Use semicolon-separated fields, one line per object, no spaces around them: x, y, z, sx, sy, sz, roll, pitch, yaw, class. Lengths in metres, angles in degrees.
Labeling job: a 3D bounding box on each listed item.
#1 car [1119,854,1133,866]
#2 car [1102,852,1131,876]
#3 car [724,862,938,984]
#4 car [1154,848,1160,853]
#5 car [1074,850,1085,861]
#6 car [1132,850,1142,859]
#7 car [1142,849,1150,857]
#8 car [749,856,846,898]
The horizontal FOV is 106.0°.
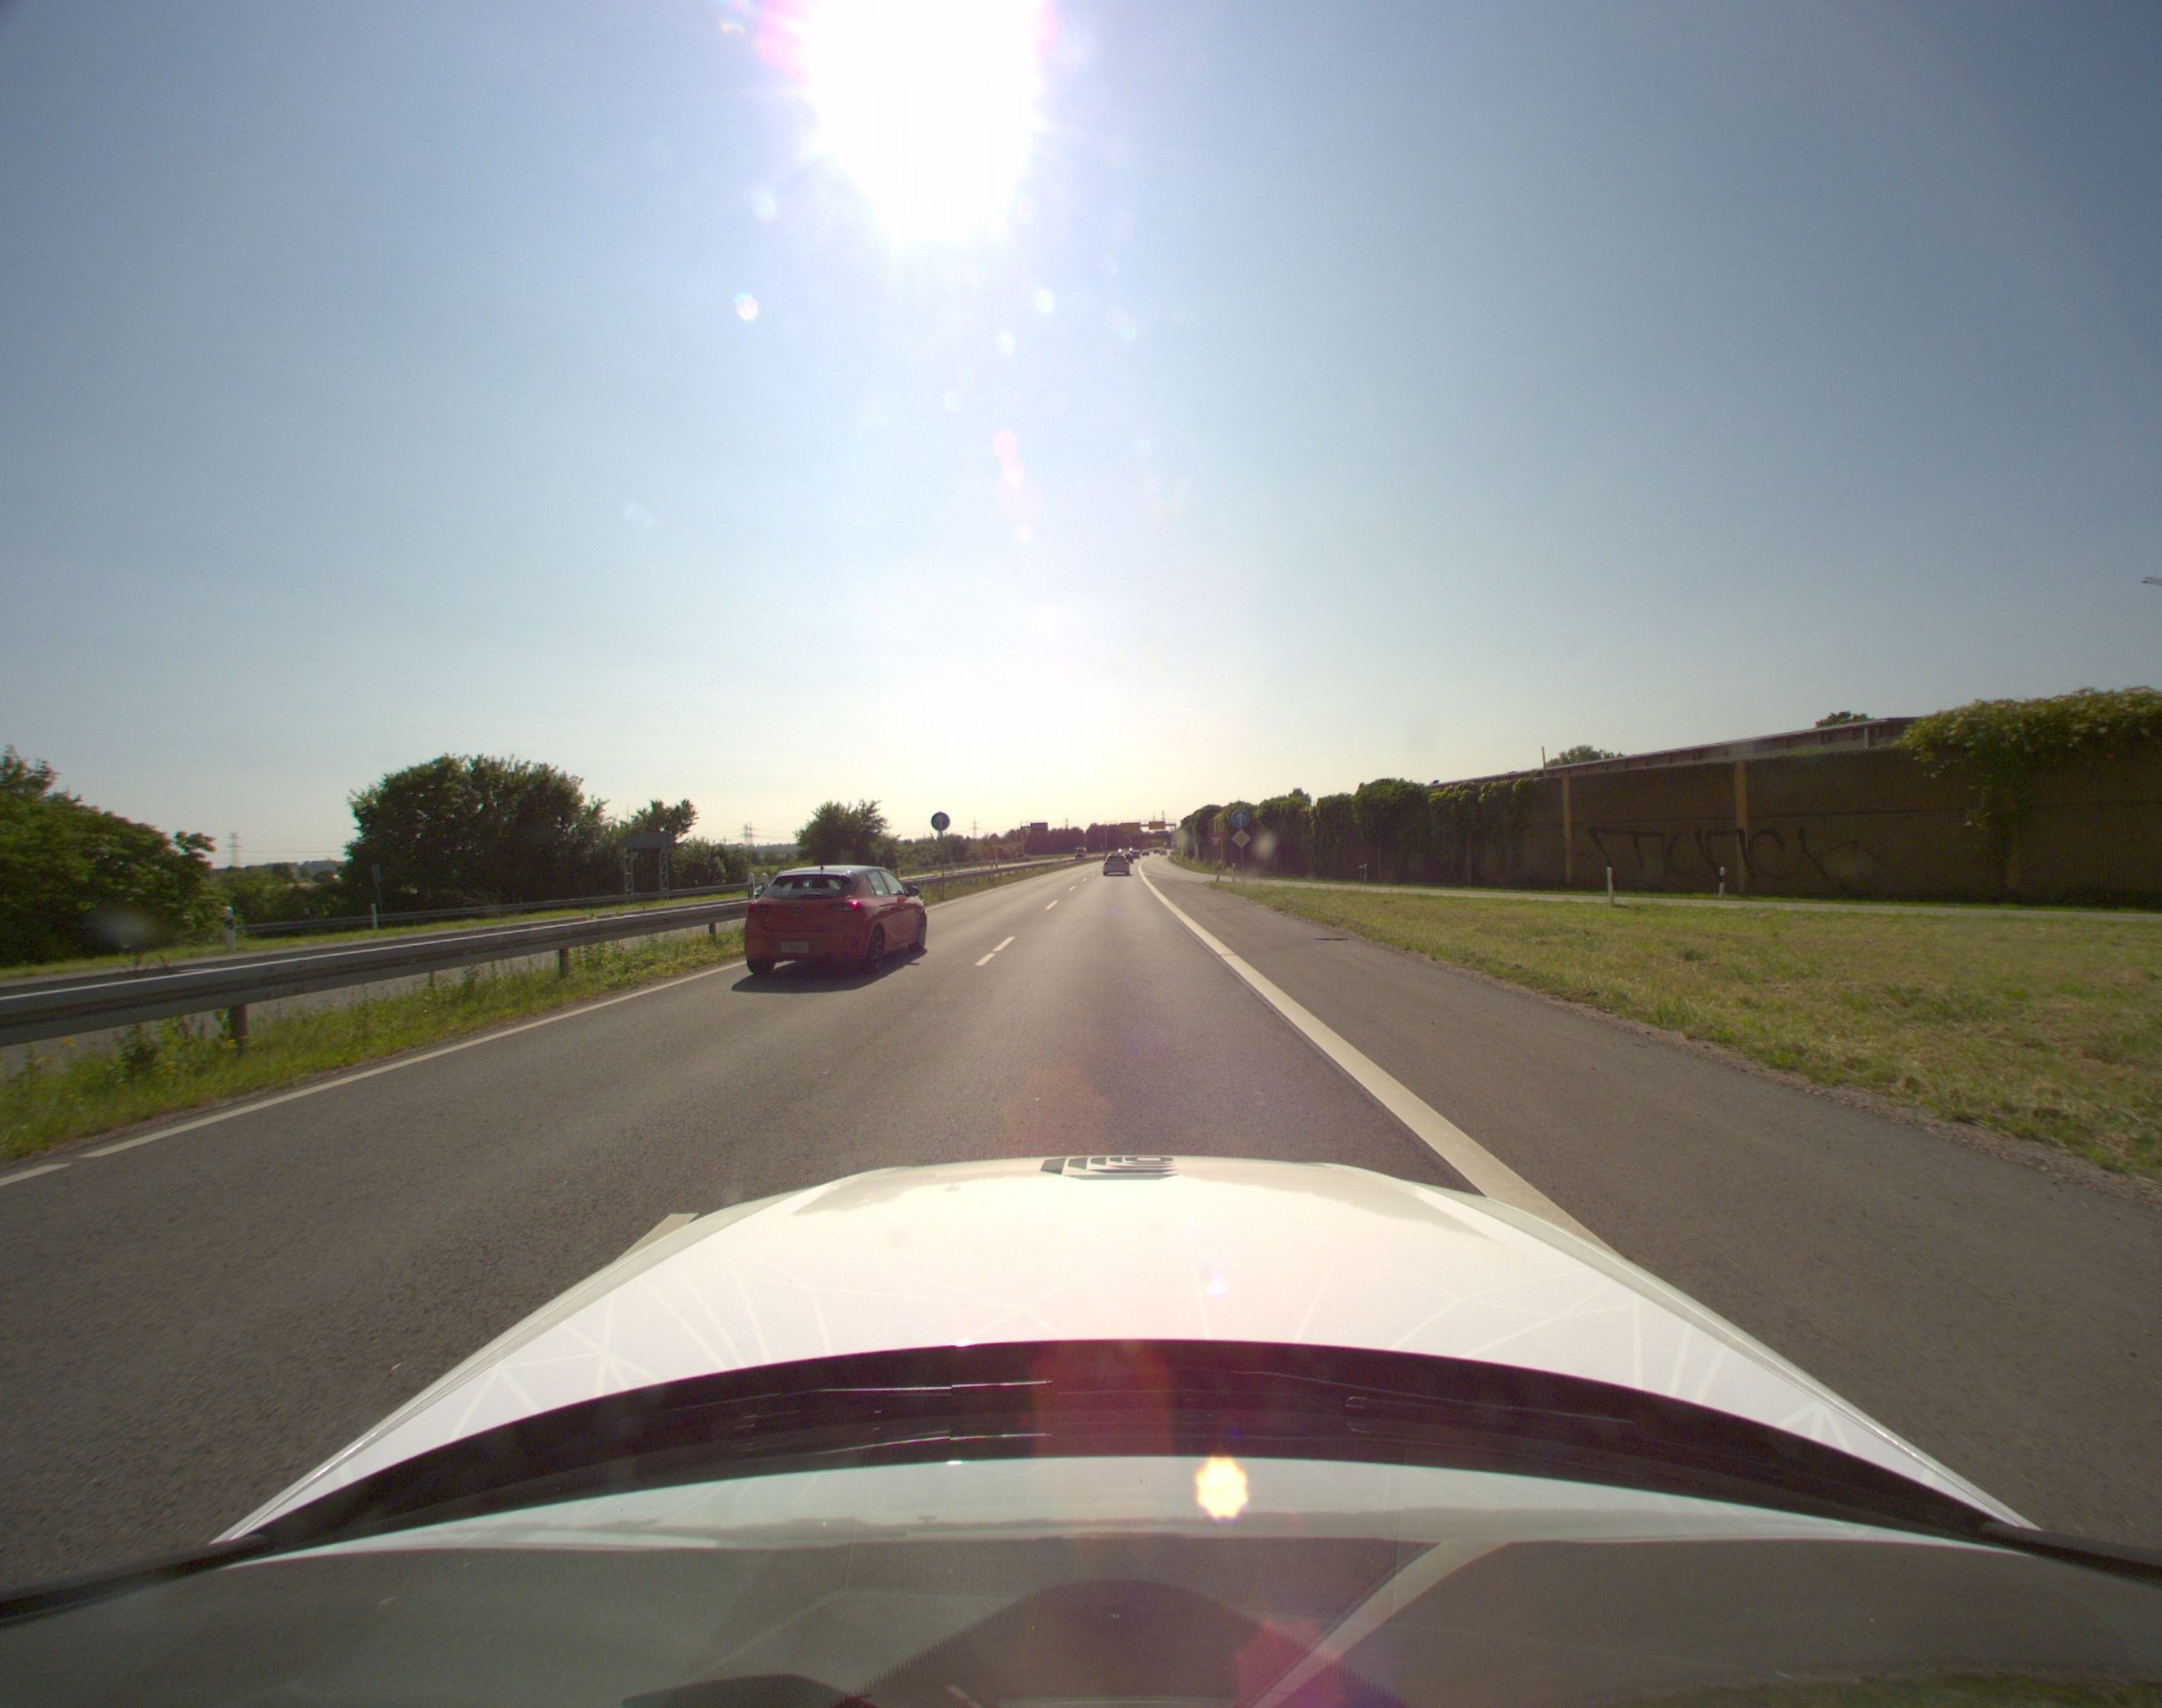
5.865;0.745;107.035;1.785;1.543;3.675;-1;0;3;car
2.504;0.683;57.834;1.950;1.601;4.110;-1;1;3;car
-3.471;0.872;12.243;1.703;1.437;4.413;-2;-1;2;car
23.458;-1.088;250.392;1.831;1.698;4.008;-1;0;7;car
-0.318;0.282;188.543;2.130;2.541;5.813;-1;0;3;car
10.659;0.128;154.458;1.760;1.736;3.638;-1;0;6;car
16.137;-0.293;202.782;1.833;1.802;4.005;-1;0;4;car
-10.313;0.806;30.058;1.793;1.420;4.678;-1;-1;2;car
